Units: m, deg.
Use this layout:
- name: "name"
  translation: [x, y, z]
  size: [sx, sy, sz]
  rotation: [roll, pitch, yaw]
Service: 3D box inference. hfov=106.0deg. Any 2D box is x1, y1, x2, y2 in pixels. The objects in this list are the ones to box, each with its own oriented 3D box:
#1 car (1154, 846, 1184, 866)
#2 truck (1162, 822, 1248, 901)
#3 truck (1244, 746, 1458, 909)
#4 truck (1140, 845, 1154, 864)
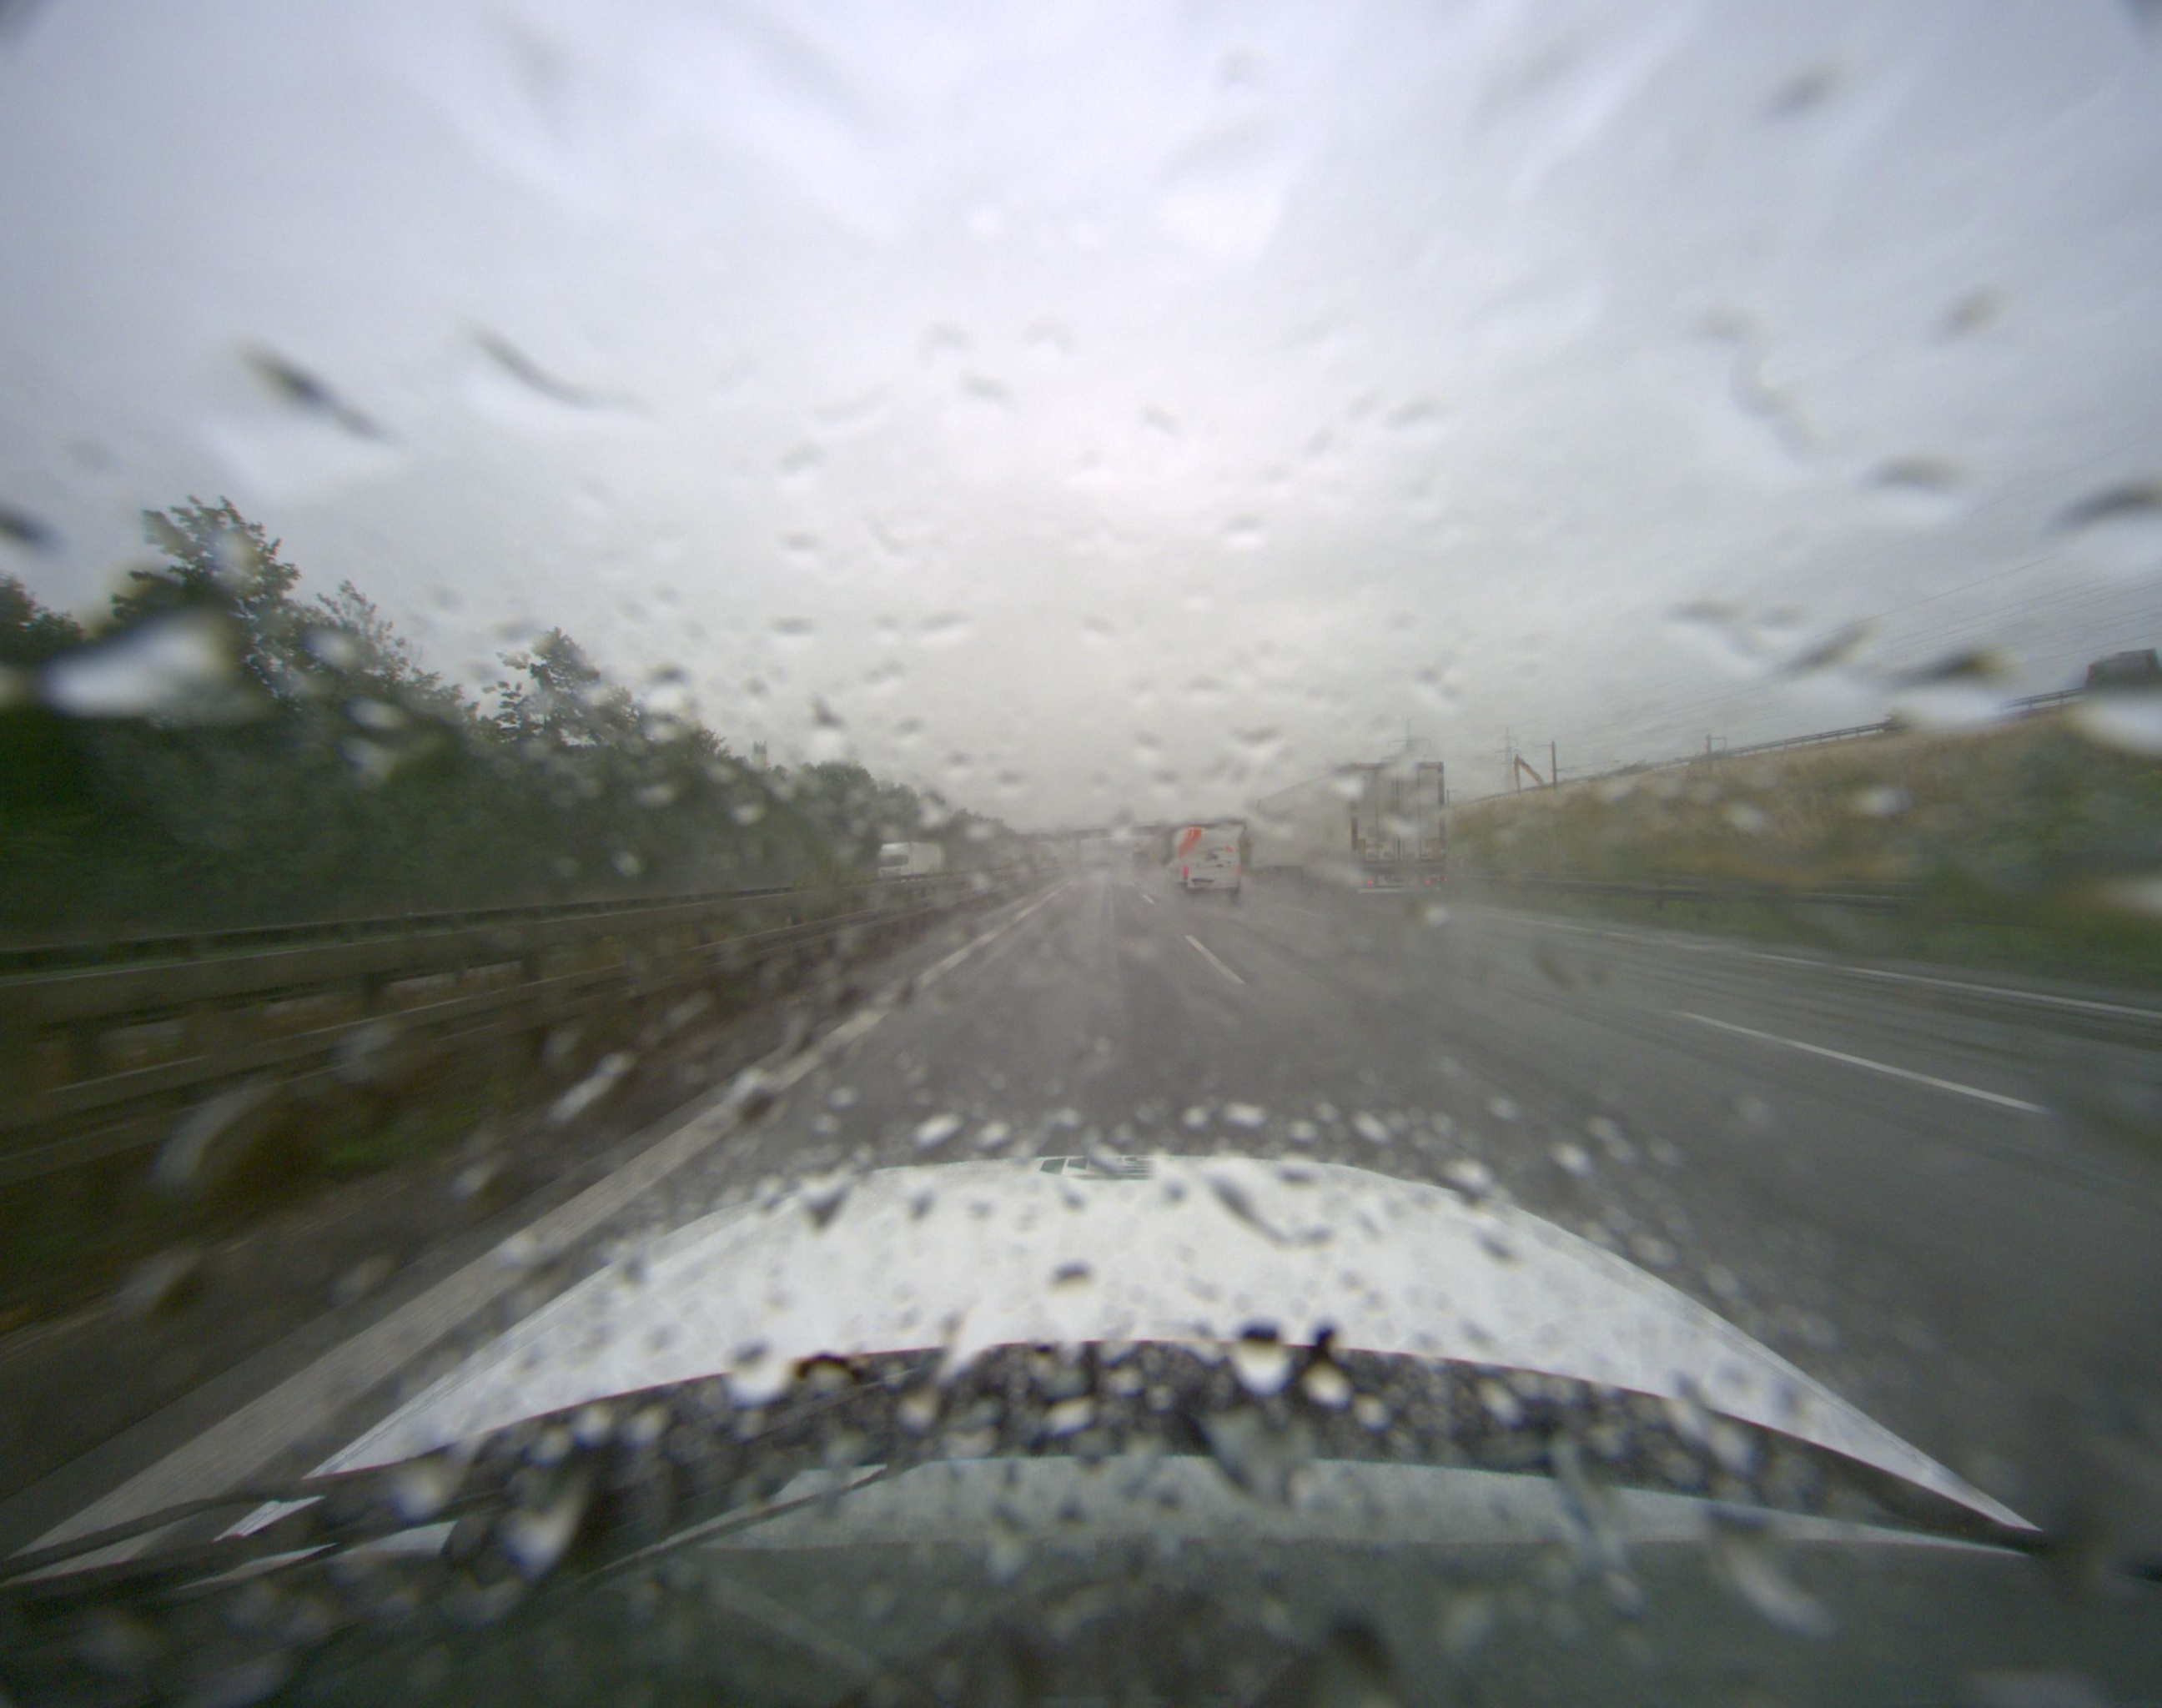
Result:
- name: "car"
  translation: [9.371, 0.142, 87.120]
  size: [2.778, 2.013, 4.995]
  rotation: [-1, 1, 2]
- name: "truck"
  translation: [4.271, 0.199, 28.990]
  size: [2.410, 2.492, 5.564]
  rotation: [-1, 1, 2]
- name: "truck"
  translation: [9.273, -0.748, 31.189]
  size: [3.029, 4.588, 16.353]
  rotation: [-1, 0, 1]
- name: "truck"
  translation: [12.142, 0.060, 149.285]
  size: [2.102, 3.516, 5.248]
  rotation: [-1, 1, 0]
